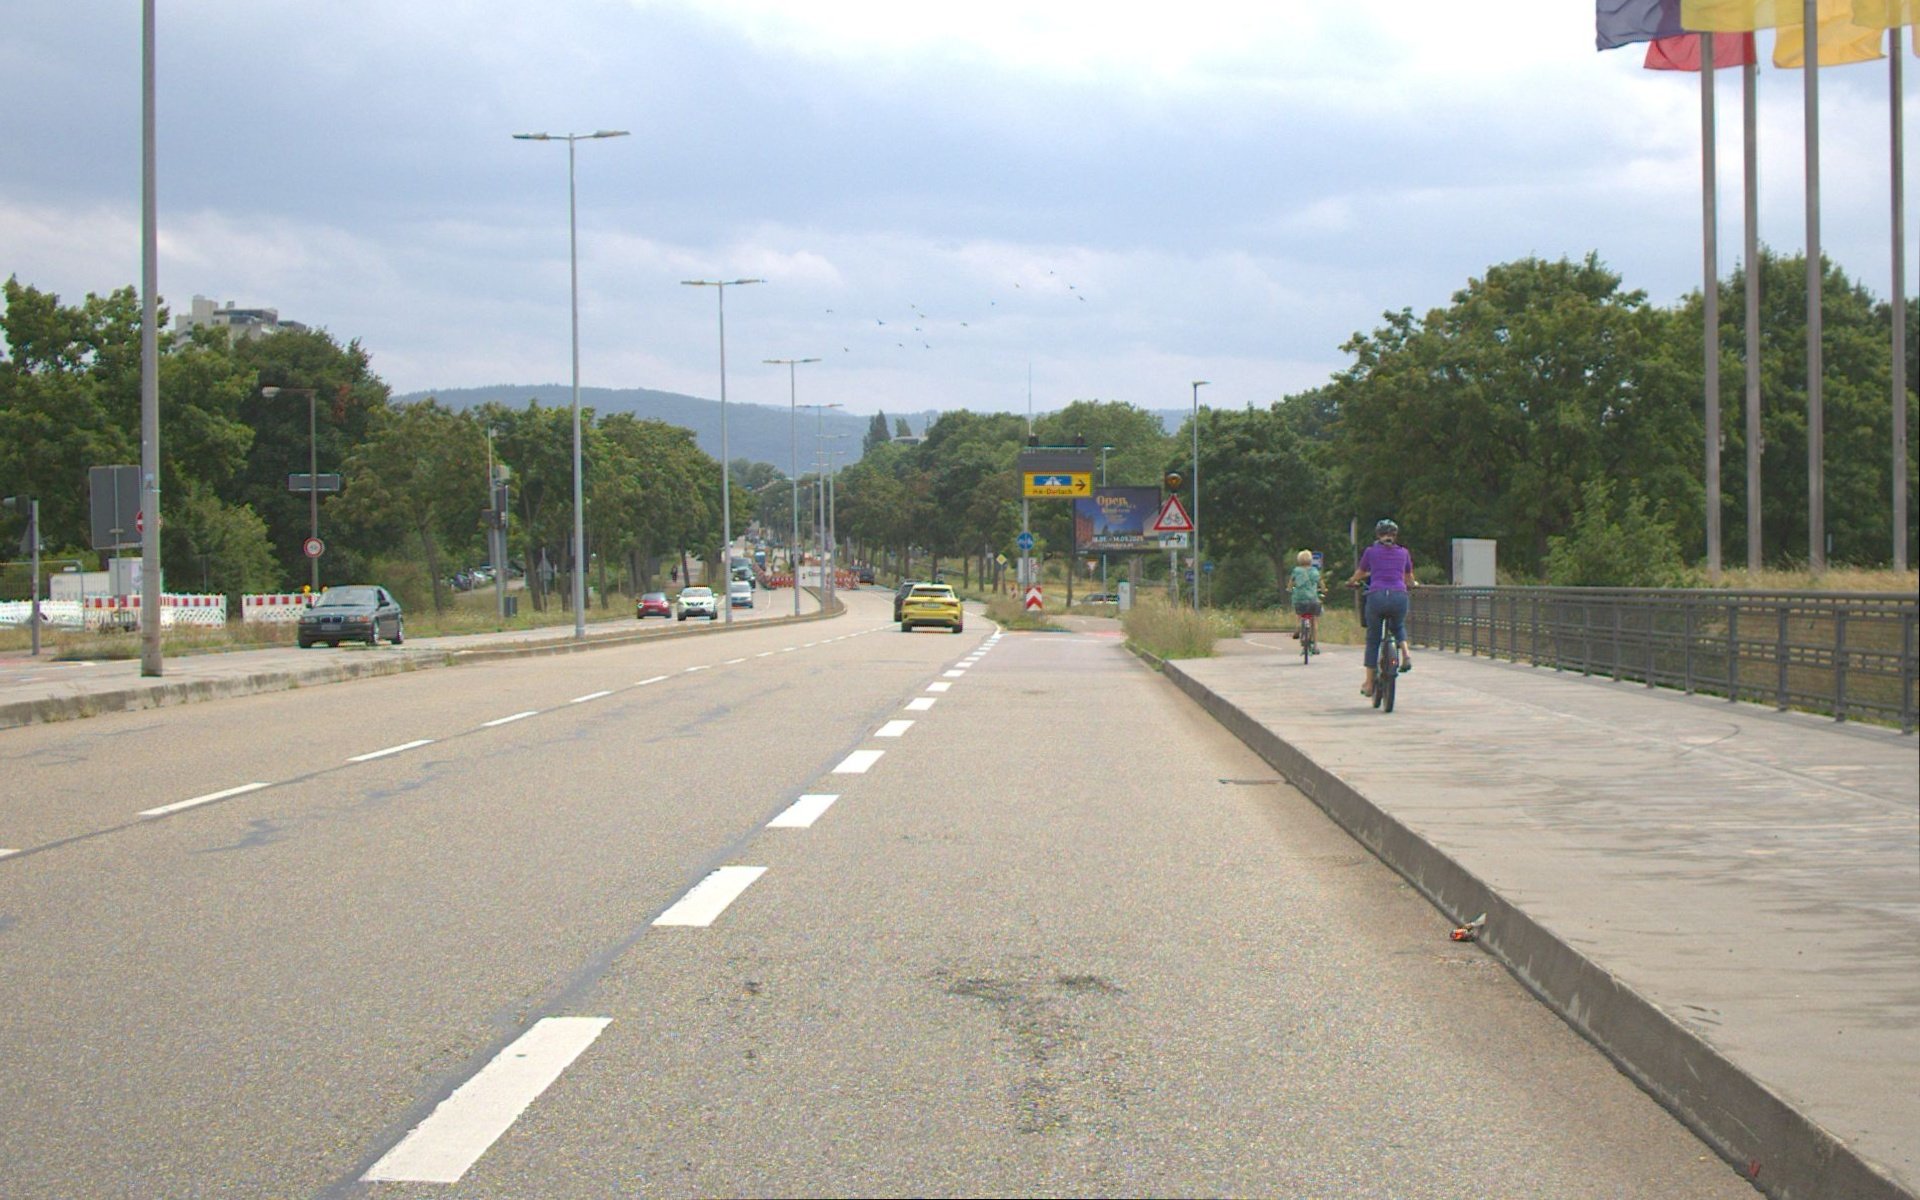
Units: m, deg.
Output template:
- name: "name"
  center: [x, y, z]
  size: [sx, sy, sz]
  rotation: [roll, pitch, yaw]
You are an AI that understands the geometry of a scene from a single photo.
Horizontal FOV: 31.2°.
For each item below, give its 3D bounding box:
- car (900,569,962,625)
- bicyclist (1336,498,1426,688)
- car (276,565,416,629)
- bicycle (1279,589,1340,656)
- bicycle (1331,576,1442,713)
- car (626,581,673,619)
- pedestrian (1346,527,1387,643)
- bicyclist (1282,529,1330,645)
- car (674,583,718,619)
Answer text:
- name: "car"
  center: [-0.885, -0.103, 102.966]
  size: [1.793, 1.556, 4.001]
  rotation: [0, 2, -1]
- name: "bicyclist"
  center: [3.918, -0.075, 32.043]
  size: [0.703, 1.749, 0.991]
  rotation: [0, 1, -1]
- name: "car"
  center: [-13.952, -0.078, 78.413]
  size: [1.994, 1.369, 4.576]
  rotation: [-1, 0, 5]
- name: "bicycle"
  center: [5.008, 0.307, 49.395]
  size: [0.623, 0.885, 2.155]
  rotation: [0, 2, -1]
- name: "bicycle"
  center: [3.968, 0.396, 32.145]
  size: [0.693, 1.188, 2.461]
  rotation: [-1, 1, -1]
- name: "car"
  center: [-16.866, 0.012, 186.965]
  size: [1.994, 1.875, 4.000]
  rotation: [4, 0, 1]
- name: "pedestrian"
  center: [7.085, -0.261, 59.956]
  size: [0.627, 2.007, 0.668]
  rotation: [0, 1, 1]
- name: "bicyclist"
  center: [5.009, -0.188, 49.812]
  size: [0.621, 1.660, 0.669]
  rotation: [0, 1, -1]
- name: "car"
  center: [-12.877, 0.059, 167.972]
  size: [1.694, 1.623, 4.384]
  rotation: [0, 2, 1]
